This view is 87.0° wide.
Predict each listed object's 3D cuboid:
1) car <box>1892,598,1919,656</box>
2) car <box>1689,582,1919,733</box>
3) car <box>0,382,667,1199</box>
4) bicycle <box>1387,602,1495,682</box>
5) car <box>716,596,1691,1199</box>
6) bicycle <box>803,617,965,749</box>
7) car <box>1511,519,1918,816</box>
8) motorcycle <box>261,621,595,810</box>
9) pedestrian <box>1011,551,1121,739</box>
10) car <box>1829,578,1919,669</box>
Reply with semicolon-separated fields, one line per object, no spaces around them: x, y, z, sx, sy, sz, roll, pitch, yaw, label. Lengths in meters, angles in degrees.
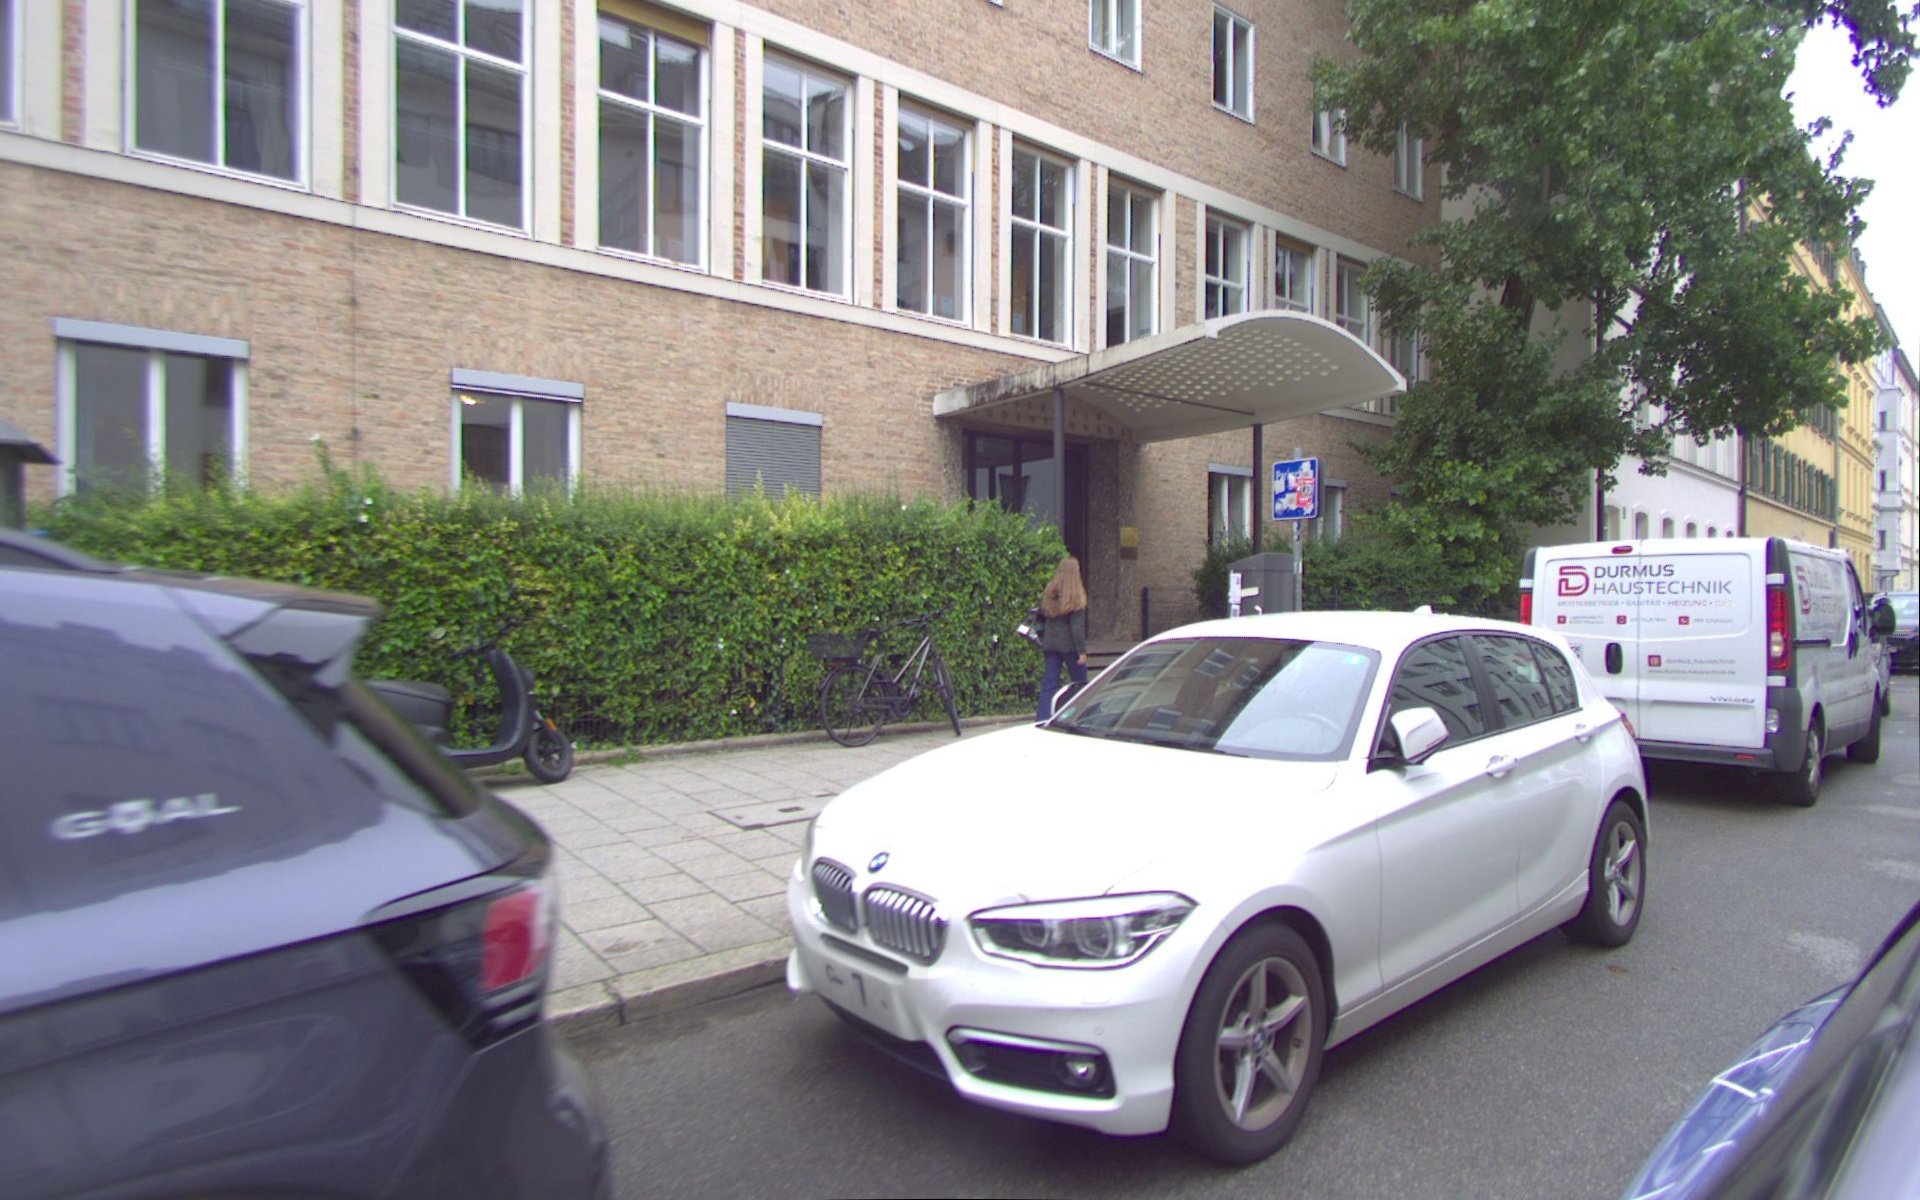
26.055;0.692;26.837;4.384;1.442;1.714;0;0;-44;car
10.868;0.606;12.926;4.145;1.620;1.809;0;0;-44;car
-2.406;0.621;0.695;3.887;1.614;1.750;0;0;-41;car
7.164;0.582;15.011;2.186;1.087;0.671;0;1;-43;bicycle
1.288;0.709;4.089;4.125;1.435;1.677;0;0;-39;car
-0.650;0.696;8.979;1.461;1.067;0.423;0;-1;-39;bicycle
6.828;0.433;8.931;4.789;1.948;1.885;0;0;-41;car
-3.430;0.683;6.669;1.890;1.067;0.489;0;-1;-42;motorcycle
0.988;0.399;9.428;0.861;1.653;0.589;1;-1;-37;pedestrian
20.417;0.466;21.933;4.129;1.799;1.848;-1;-1;-42;car
